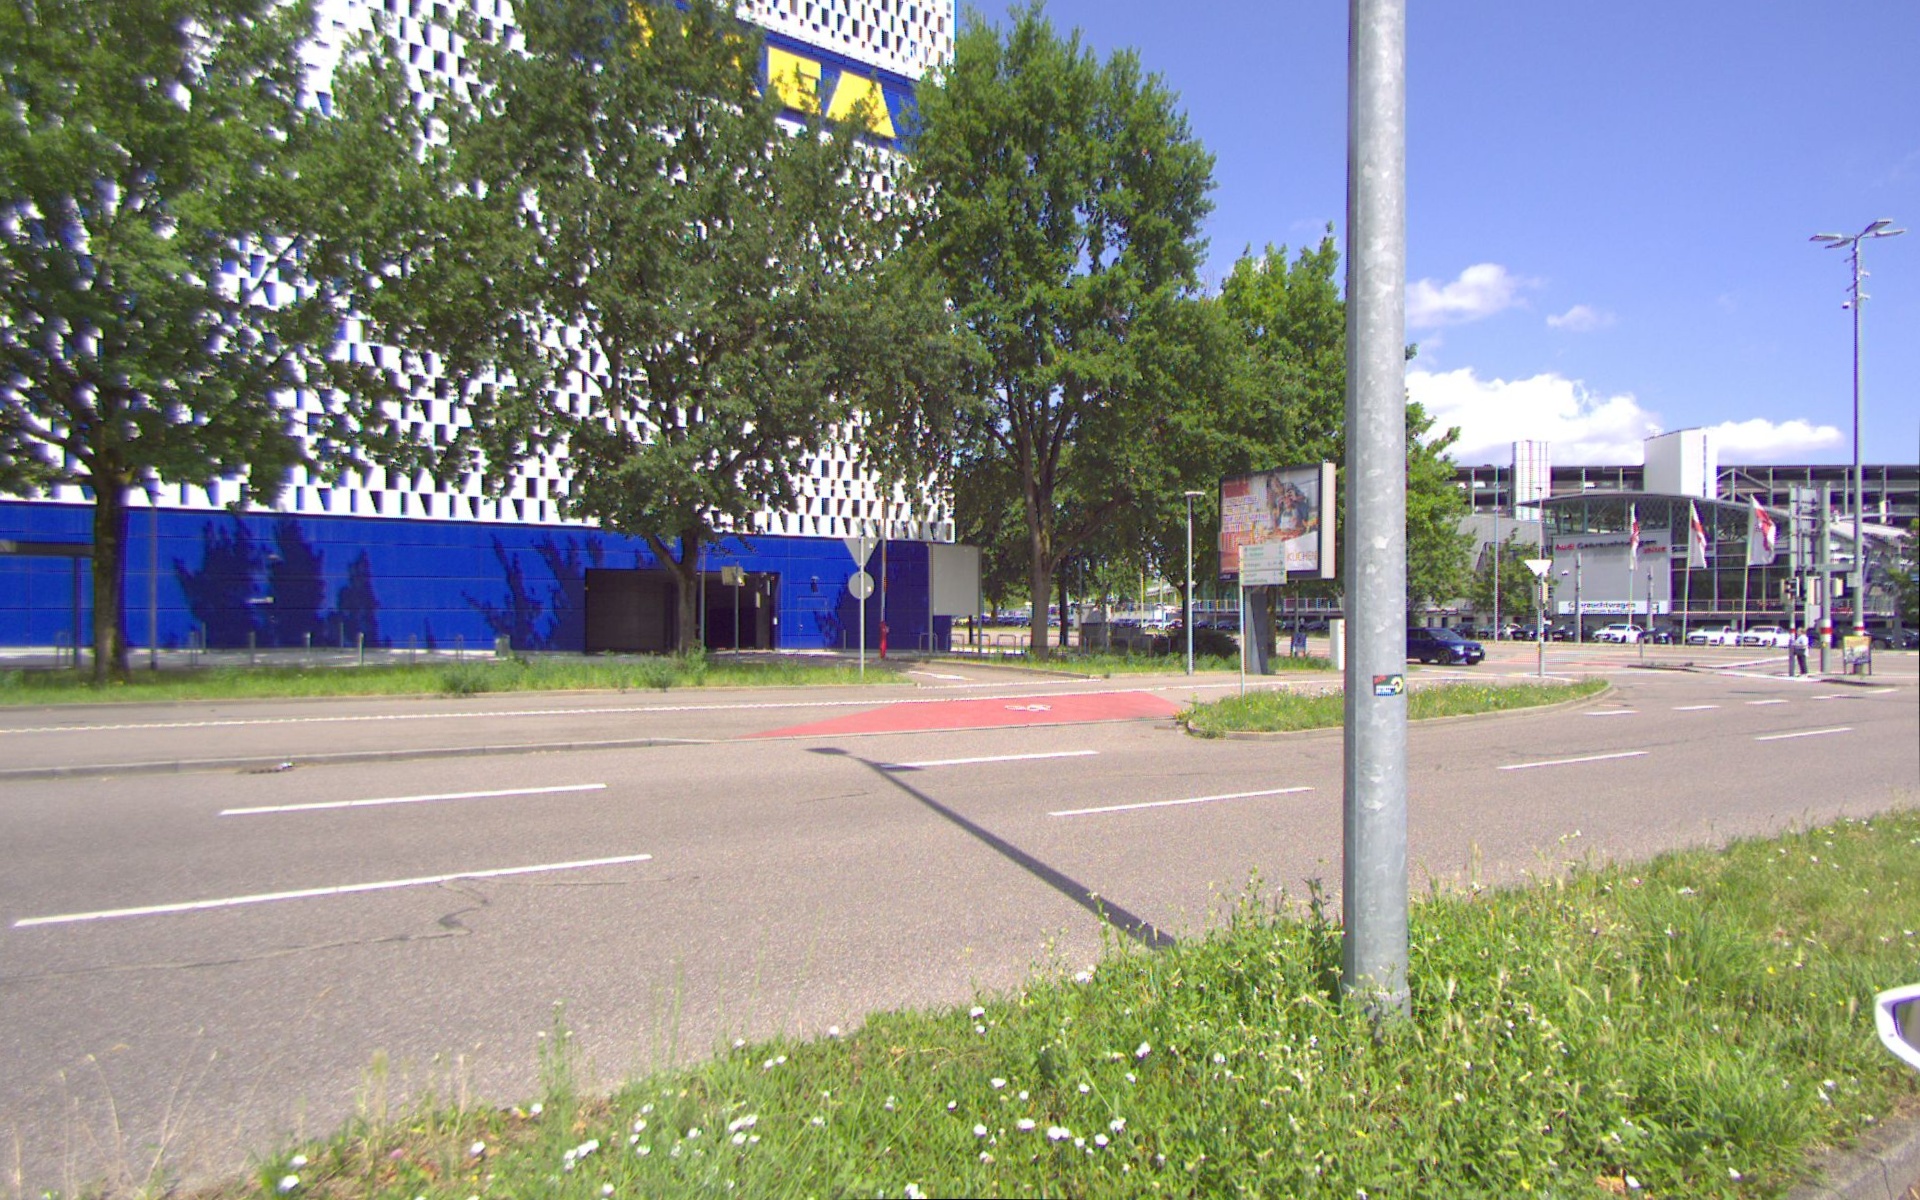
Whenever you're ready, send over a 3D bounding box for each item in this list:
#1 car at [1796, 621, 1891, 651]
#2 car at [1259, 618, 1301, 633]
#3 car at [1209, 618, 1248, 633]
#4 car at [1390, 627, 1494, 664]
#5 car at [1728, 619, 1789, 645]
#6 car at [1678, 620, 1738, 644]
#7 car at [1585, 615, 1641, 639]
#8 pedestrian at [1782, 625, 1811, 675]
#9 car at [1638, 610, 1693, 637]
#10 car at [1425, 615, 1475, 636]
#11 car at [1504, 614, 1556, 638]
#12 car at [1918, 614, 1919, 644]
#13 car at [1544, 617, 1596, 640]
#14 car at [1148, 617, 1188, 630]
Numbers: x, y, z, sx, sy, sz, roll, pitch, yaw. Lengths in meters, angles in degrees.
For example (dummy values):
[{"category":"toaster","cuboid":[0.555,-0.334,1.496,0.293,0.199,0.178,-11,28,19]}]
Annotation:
[{"category":"car","cuboid":[50.266,2.008,57.189,1.662,1.533,3.768,0,0,-34]},{"category":"car","cuboid":[28.018,2.224,87.981,3.462,1.207,1.584,1,-1,-30]},{"category":"car","cuboid":[25.270,2.383,94.425,3.462,1.409,1.584,1,0,-30]},{"category":"car","cuboid":[21.539,2.013,45.058,1.970,1.530,3.981,0,-1,-21]},{"category":"car","cuboid":[48.378,1.926,60.857,3.986,1.469,1.765,0,0,-34]},{"category":"car","cuboid":[46.941,1.956,63.020,3.712,1.394,1.896,0,0,-34]},{"category":"car","cuboid":[44.086,1.797,67.763,3.661,1.506,1.868,0,0,-33]},{"category":"pedestrian","cuboid":[26.575,1.584,31.932,0.502,1.532,0.470,1,0,-4]},{"category":"car","cuboid":[45.675,1.473,64.984,3.579,1.683,1.746,0,0,-34]},{"category":"car","cuboid":[37.024,1.932,75.909,3.663,1.508,1.825,0,0,-35]},{"category":"car","cuboid":[42.103,1.939,74.185,3.753,1.686,1.804,1,0,-34]},{"category":"car","cuboid":[52.678,1.591,53.911,1.798,1.573,3.977,1,0,43]},{"category":"car","cuboid":[42.524,1.956,70.060,3.661,1.506,1.717,0,0,-34]},{"category":"car","cuboid":[21.610,2.398,104.277,3.952,1.271,1.789,0,0,-30]}]
